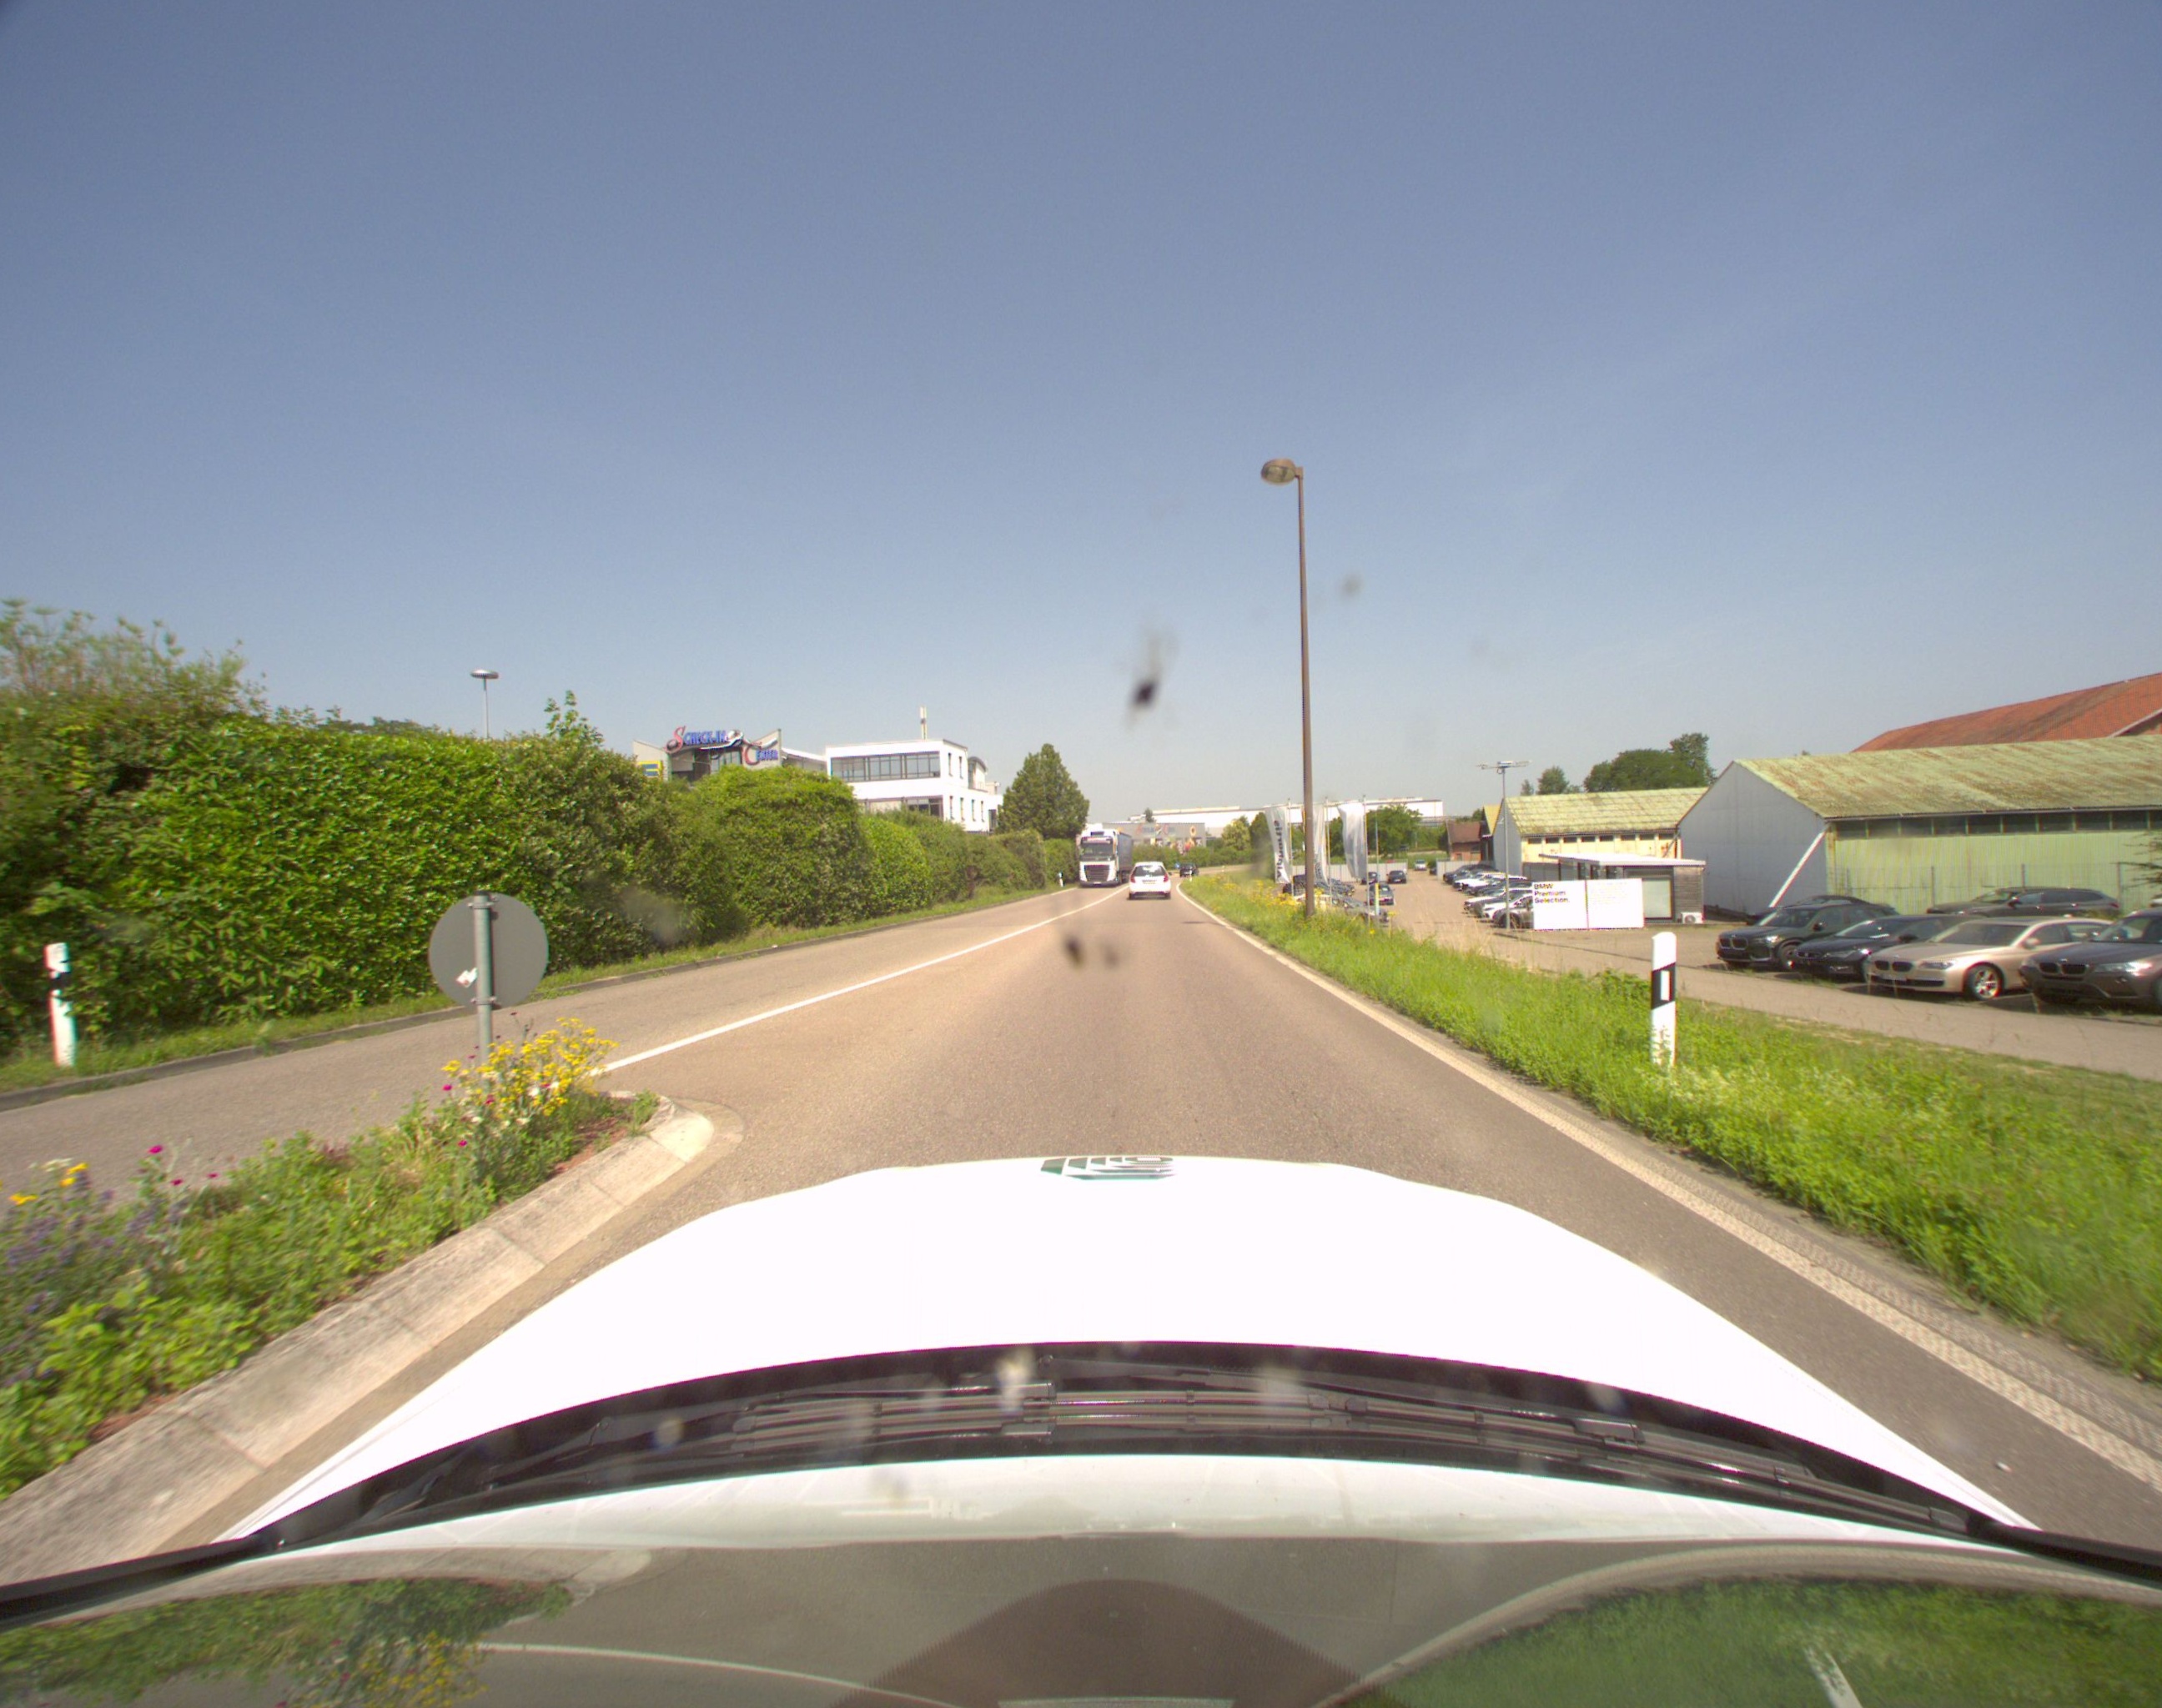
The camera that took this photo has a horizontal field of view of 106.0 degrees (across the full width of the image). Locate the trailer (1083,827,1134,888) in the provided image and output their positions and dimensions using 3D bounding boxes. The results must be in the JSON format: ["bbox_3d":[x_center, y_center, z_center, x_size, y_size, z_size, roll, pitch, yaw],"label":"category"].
[{"bbox_3d":[2.400,0.334,63.982,2.656,4.241,14.593,-1,-1,7],"label":"trailer"}]

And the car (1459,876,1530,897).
[{"bbox_3d":[32.750,2.545,64.619,4.632,1.523,1.911,-2,-1,-1],"label":"car"}]

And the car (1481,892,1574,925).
[{"bbox_3d":[22.192,2.697,40.629,3.921,1.523,1.761,-2,-2,25],"label":"car"}]

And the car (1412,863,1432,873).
[{"bbox_3d":[47.591,1.956,113.520,1.974,1.398,4.025,-1,-1,30],"label":"car"}]

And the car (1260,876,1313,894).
[{"bbox_3d":[19.972,2.989,79.188,4.583,1.605,1.868,-2,-1,33],"label":"car"}]

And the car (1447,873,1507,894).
[{"bbox_3d":[34.130,2.528,70.252,4.318,1.523,1.908,-2,0,-6],"label":"car"}]

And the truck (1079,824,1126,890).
[{"bbox_3d":[1.560,0.225,56.951,2.499,4.258,6.125,-2,-1,7],"label":"truck"}]

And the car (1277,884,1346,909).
[{"bbox_3d":[17.370,3.153,61.391,4.583,1.700,1.868,-1,1,38],"label":"car"}]

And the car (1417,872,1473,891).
[{"bbox_3d":[33.596,2.555,75.202,4.318,1.523,1.908,-2,0,-6],"label":"car"}]

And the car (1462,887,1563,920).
[{"bbox_3d":[23.175,2.661,43.898,4.404,1.523,1.935,-2,-1,5],"label":"car"}]

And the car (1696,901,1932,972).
[{"bbox_3d":[19.406,2.148,21.707,4.473,1.640,2.144,-1,-2,-5],"label":"car"}]

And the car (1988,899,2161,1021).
[{"bbox_3d":[19.200,1.749,14.290,4.235,1.748,1.999,-4,-3,-1],"label":"car"}]

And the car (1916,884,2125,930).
[{"bbox_3d":[32.882,1.841,28.679,4.409,1.471,1.992,-1,-1,17],"label":"car"}]

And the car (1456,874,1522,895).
[{"bbox_3d":[33.702,2.498,67.307,4.592,1.523,1.908,-2,0,-6],"label":"car"}]

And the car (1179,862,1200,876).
[{"bbox_3d":[11.755,1.651,88.007,1.815,1.470,4.426,-1,-1,14],"label":"car"}]

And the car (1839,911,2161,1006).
[{"bbox_3d":[18.988,2.103,16.820,4.752,1.508,1.999,-3,-3,-1],"label":"car"}]

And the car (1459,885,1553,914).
[{"bbox_3d":[24.694,2.659,47.464,4.398,1.523,1.937,-2,-1,10],"label":"car"}]

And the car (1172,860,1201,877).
[{"bbox_3d":[12.607,1.752,97.136,1.975,2.014,4.024,-1,-1,29],"label":"car"}]

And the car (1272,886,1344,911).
[{"bbox_3d":[14.756,2.890,52.984,4.118,1.523,1.868,-1,-1,34],"label":"car"}]

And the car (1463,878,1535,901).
[{"bbox_3d":[30.193,2.557,58.863,4.300,1.523,1.796,-2,-1,-1],"label":"car"}]

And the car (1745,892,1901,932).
[{"bbox_3d":[27.601,2.152,30.439,3.907,1.376,1.727,-1,-1,17],"label":"car"}]

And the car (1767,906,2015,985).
[{"bbox_3d":[19.046,2.111,19.288,3.980,1.552,1.996,-2,-3,-5],"label":"car"}]

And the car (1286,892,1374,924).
[{"bbox_3d":[13.270,2.853,43.441,4.118,1.523,1.762,-1,-1,34],"label":"car"}]

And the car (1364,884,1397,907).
[{"bbox_3d":[21.581,2.950,58.810,2.118,1.457,4.553,-1,-1,18],"label":"car"}]

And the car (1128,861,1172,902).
[{"bbox_3d":[2.976,1.142,35.168,1.773,1.603,3.898,1,0,5],"label":"car"}]

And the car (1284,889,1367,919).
[{"bbox_3d":[13.910,2.815,46.420,4.118,1.523,1.868,-1,-1,33],"label":"car"}]

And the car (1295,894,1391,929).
[{"bbox_3d":[12.883,2.805,40.124,4.118,1.523,1.701,-2,-1,38],"label":"car"}]

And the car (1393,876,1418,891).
[{"bbox_3d":[36.018,3.260,90.424,1.832,1.534,4.672,-1,-1,30],"label":"car"}]

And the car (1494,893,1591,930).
[{"bbox_3d":[21.122,2.597,37.325,3.754,1.523,1.762,-1,-1,32],"label":"car"}]

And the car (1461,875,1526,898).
[{"bbox_3d":[31.254,2.455,61.750,3.985,1.523,1.758,-2,-1,-1],"label":"car"}]

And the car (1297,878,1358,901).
[{"bbox_3d":[19.586,2.789,64.696,4.182,1.700,1.931,-1,1,42],"label":"car"}]

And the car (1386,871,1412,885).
[{"bbox_3d":[34.380,2.607,87.956,1.974,1.398,4.025,-1,-1,30],"label":"car"}]
